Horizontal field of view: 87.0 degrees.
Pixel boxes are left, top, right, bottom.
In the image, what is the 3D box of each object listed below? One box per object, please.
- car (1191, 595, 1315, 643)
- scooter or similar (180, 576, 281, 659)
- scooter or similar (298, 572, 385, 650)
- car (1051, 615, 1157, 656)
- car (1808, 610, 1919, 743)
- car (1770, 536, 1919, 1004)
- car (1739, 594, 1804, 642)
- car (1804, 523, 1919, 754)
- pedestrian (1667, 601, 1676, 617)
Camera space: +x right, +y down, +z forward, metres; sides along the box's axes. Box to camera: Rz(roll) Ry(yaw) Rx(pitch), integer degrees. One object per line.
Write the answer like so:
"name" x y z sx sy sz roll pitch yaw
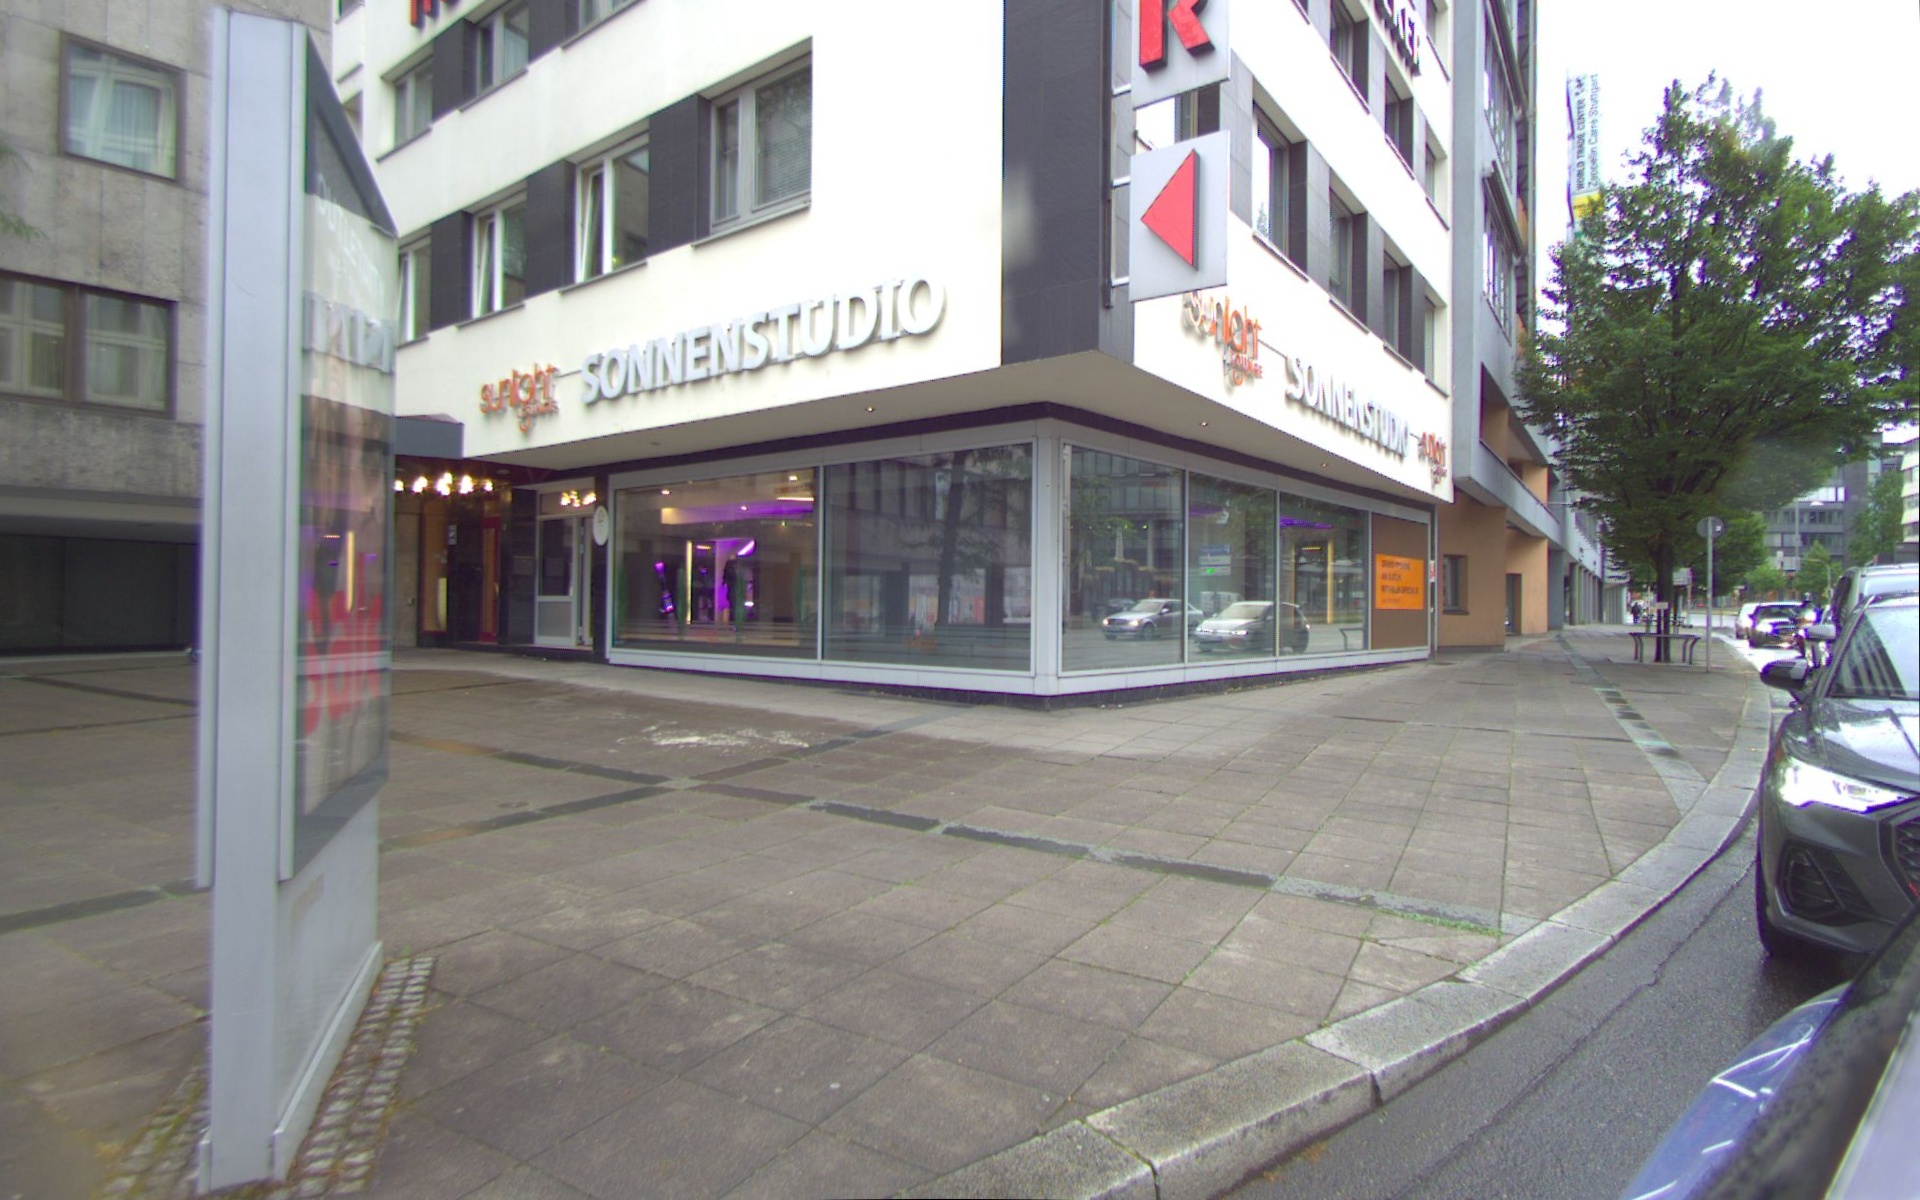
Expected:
"car" 8.308 0.507 28.558 1.716 1.209 3.937 -2 0 44
"scooter or similar" -11.708 0.261 16.256 0.562 1.269 1.215 1 1 37
"scooter or similar" -11.080 0.184 18.153 0.516 1.354 1.215 -2 -1 37
"car" 5.033 1.225 35.531 3.365 1.347 1.548 -2 0 34
"car" 16.284 1.194 17.448 2.047 1.916 4.986 -2 0 35
"car" 5.098 0.528 4.581 1.797 1.572 4.318 -2 0 44
"car" 27.351 0.574 34.063 1.593 1.487 3.398 -2 0 40
"car" 9.969 0.274 9.902 4.965 1.916 2.056 -1 0 -44
"pedestrian" 72.931 0.956 103.763 0.648 1.618 1.047 -2 -1 30
